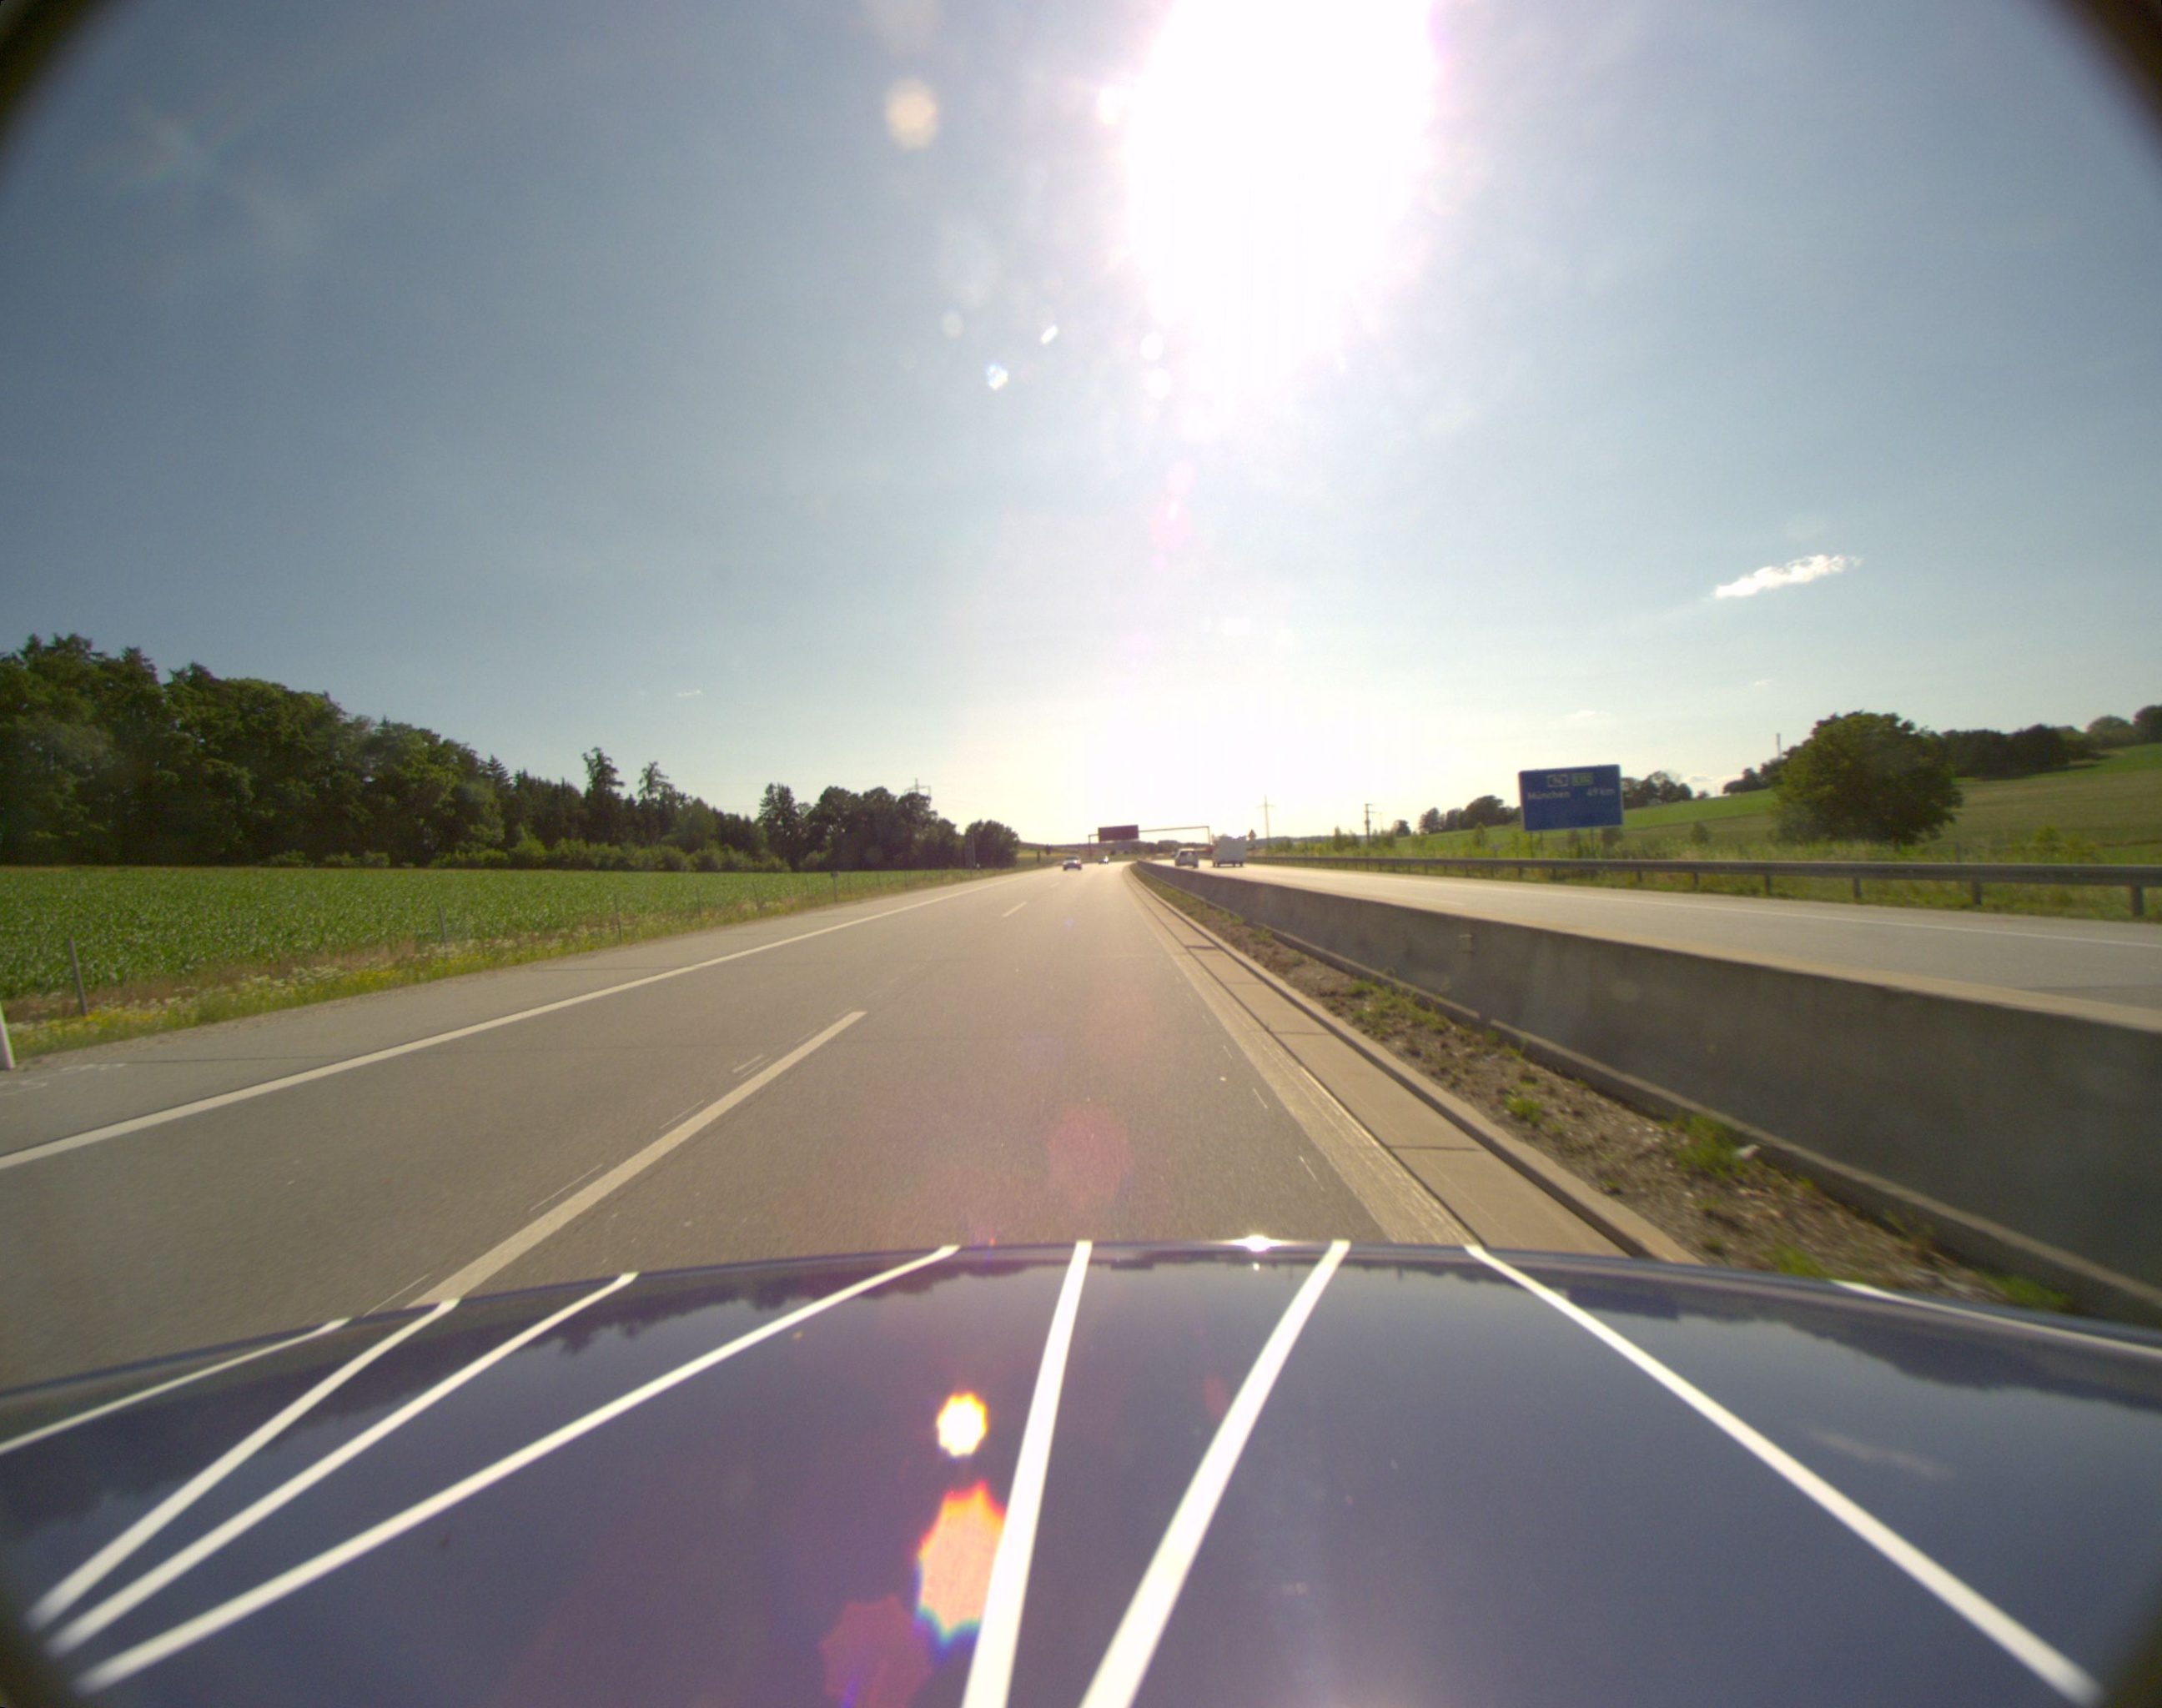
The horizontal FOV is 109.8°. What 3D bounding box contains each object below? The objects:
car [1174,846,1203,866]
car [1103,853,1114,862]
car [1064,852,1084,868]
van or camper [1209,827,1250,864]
[{"bbox_3d":[9.212,0.158,65.588,1.991,1.699,4.346,-1,0,2],"label":"car"},{"bbox_3d":[5.115,0.584,140.150,1.891,1.565,3.792,-1,0,2],"label":"car"},{"bbox_3d":[-0.726,0.609,80.900,1.891,1.565,3.792,-1,0,2],"label":"car"},{"bbox_3d":[13.205,-0.732,68.103,2.597,3.062,7.438,-1,0,3],"label":"van or camper"}]
